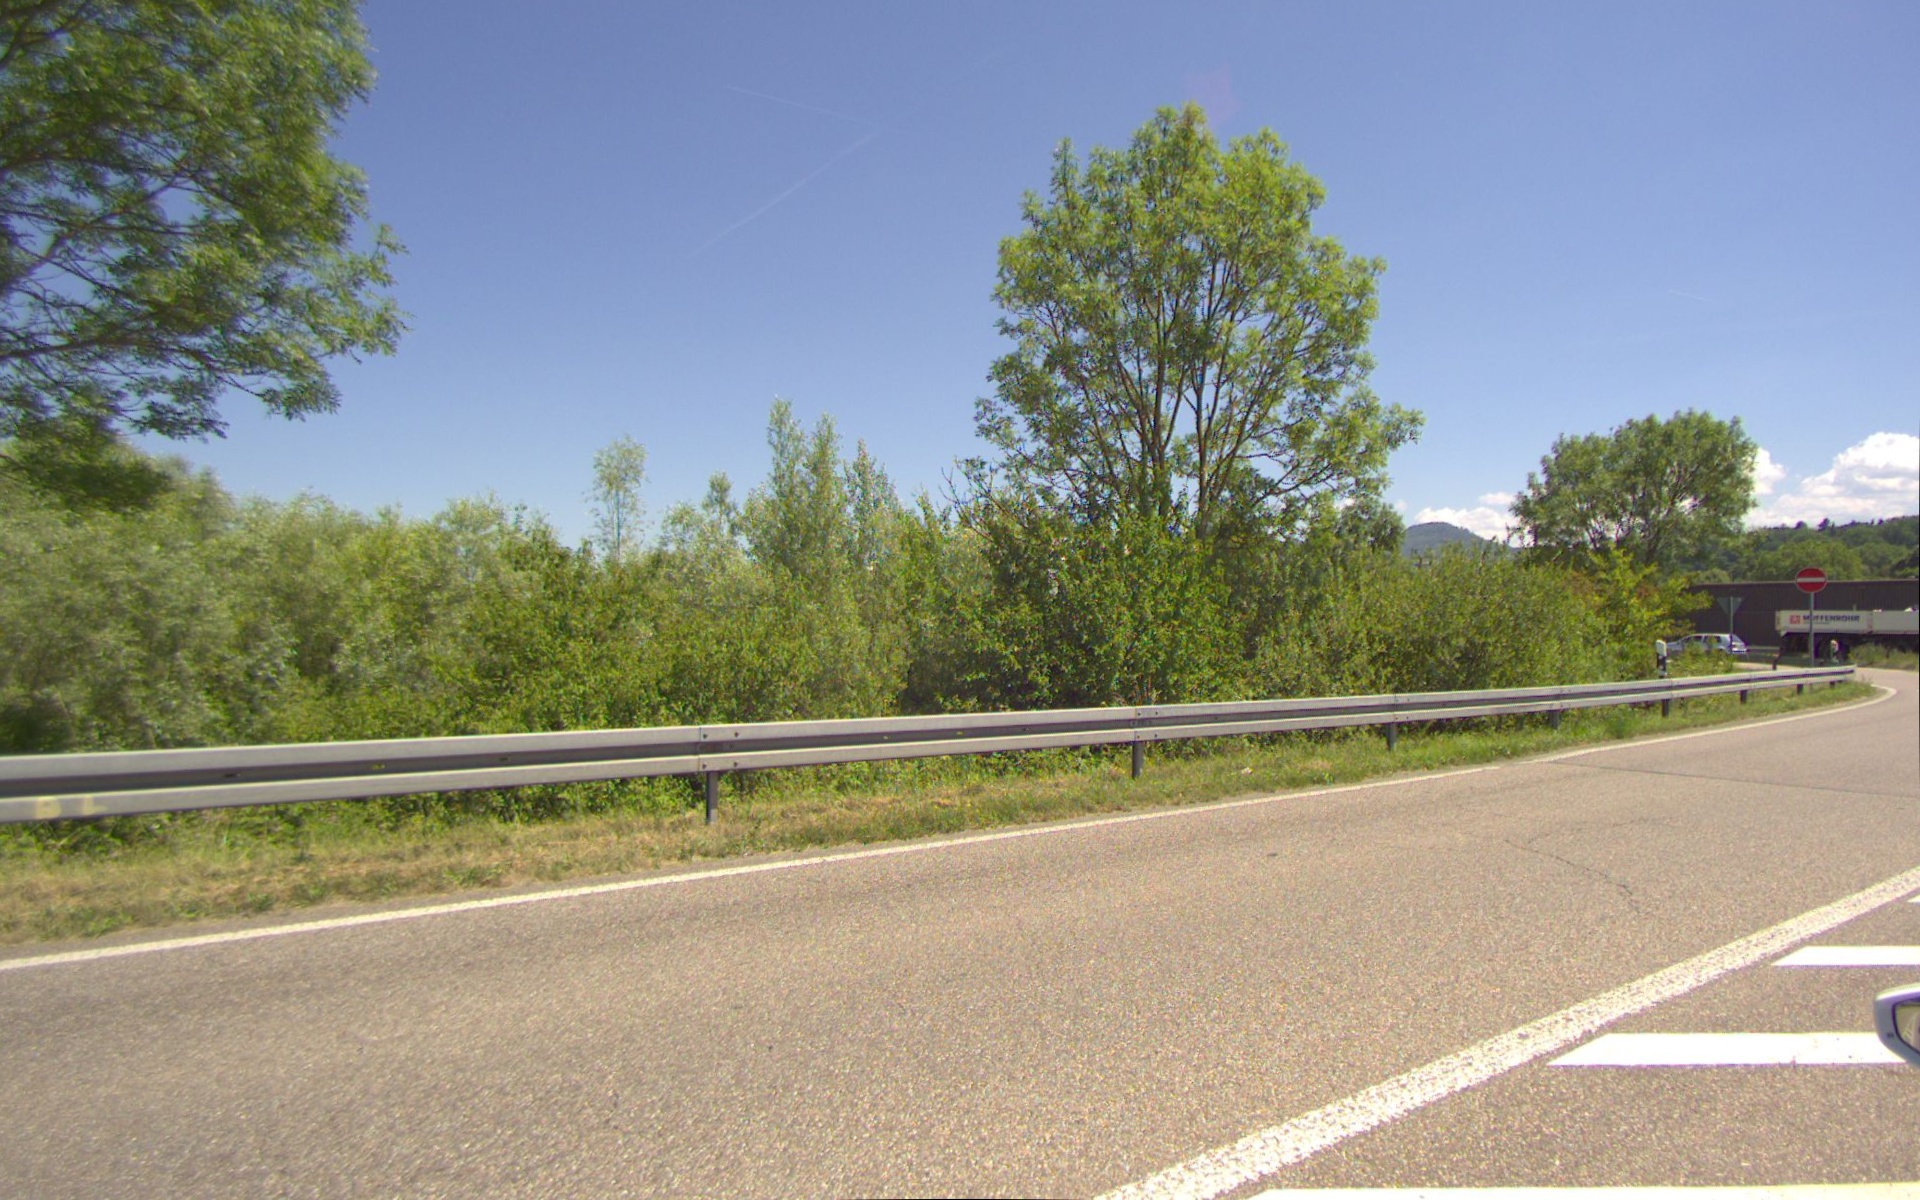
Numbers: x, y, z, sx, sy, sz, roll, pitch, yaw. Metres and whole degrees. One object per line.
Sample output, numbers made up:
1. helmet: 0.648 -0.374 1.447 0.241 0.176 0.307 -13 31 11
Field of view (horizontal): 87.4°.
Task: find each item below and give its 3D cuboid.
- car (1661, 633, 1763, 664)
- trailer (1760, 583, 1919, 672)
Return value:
1. car: 39.928 2.526 53.438 1.826 1.368 3.968 -1 1 -29
2. trailer: 39.620 1.073 39.875 2.207 3.551 12.257 0 -2 -31
